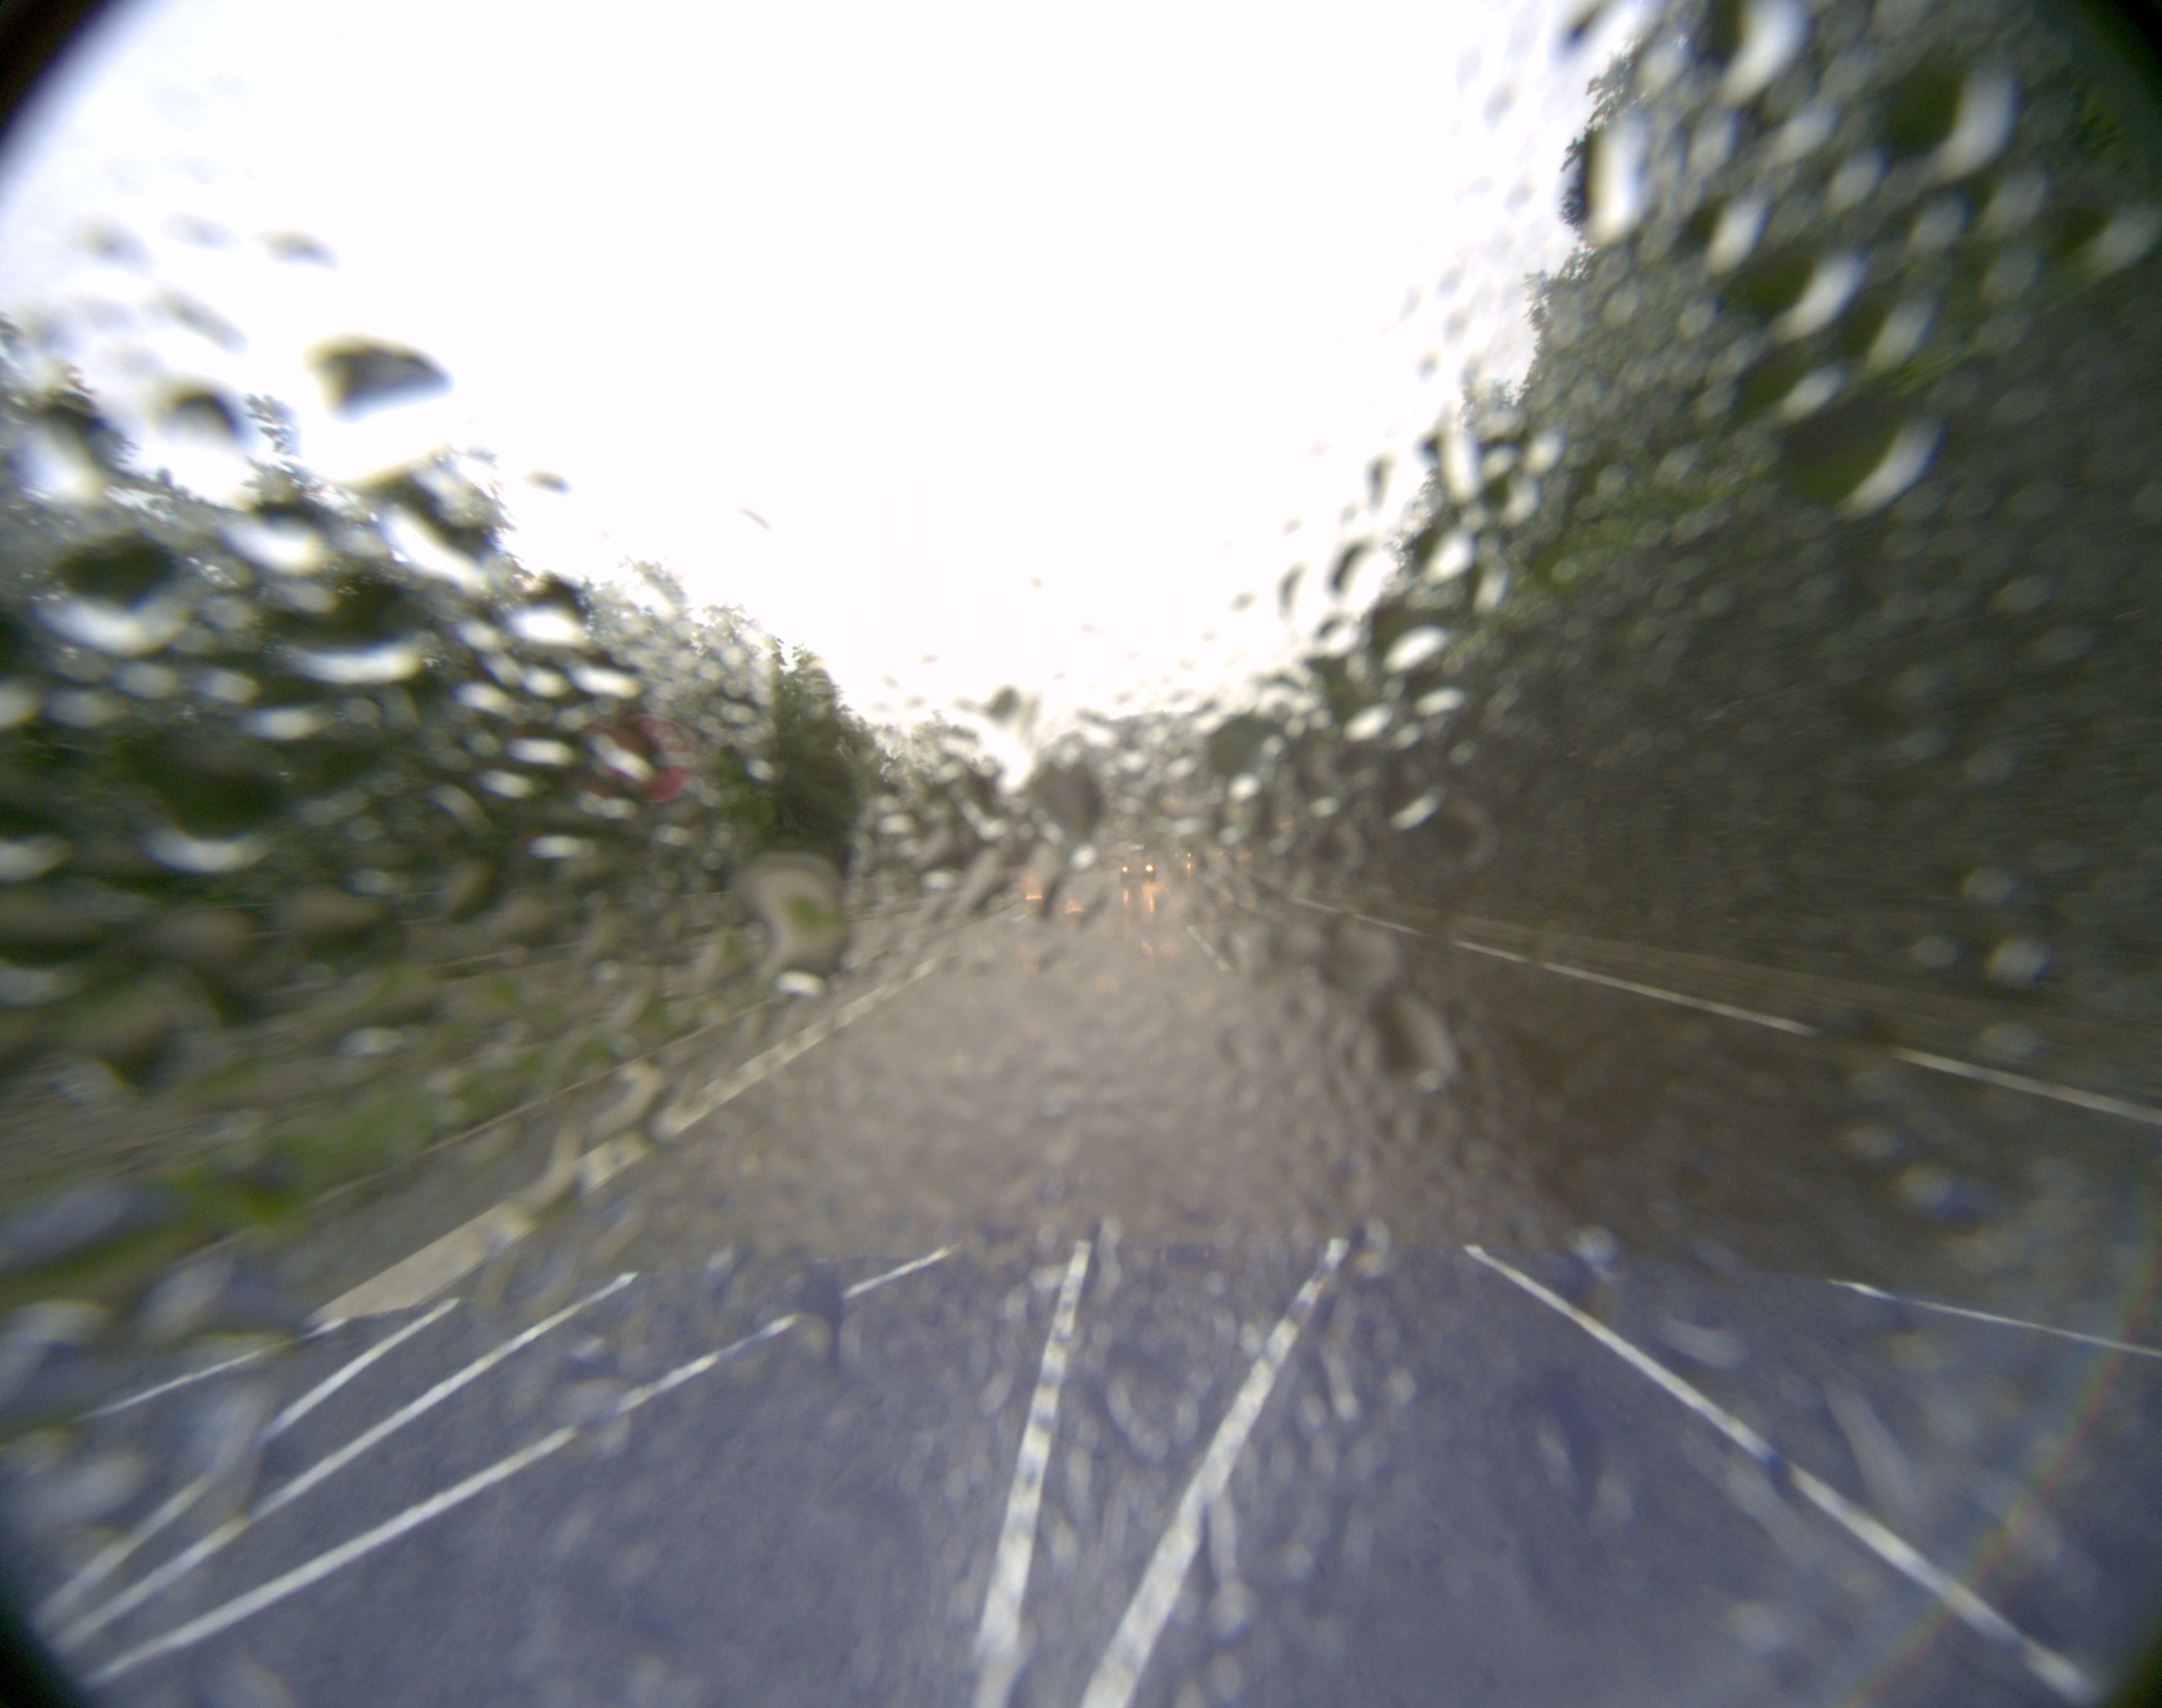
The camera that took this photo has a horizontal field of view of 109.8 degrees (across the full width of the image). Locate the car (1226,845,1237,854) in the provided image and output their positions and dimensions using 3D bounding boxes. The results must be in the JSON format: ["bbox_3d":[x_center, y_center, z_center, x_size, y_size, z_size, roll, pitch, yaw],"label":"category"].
[{"bbox_3d":[30.058,-0.878,151.870,1.735,1.656,3.871,-2,0,17],"label":"car"}]

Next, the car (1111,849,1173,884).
[{"bbox_3d":[3.248,0.575,38.958,2.357,1.549,5.503,-2,1,13],"label":"car"}]

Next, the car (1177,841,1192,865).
[{"bbox_3d":[13.548,-0.139,99.163,1.741,3.008,4.002,-2,1,9],"label":"car"}]
